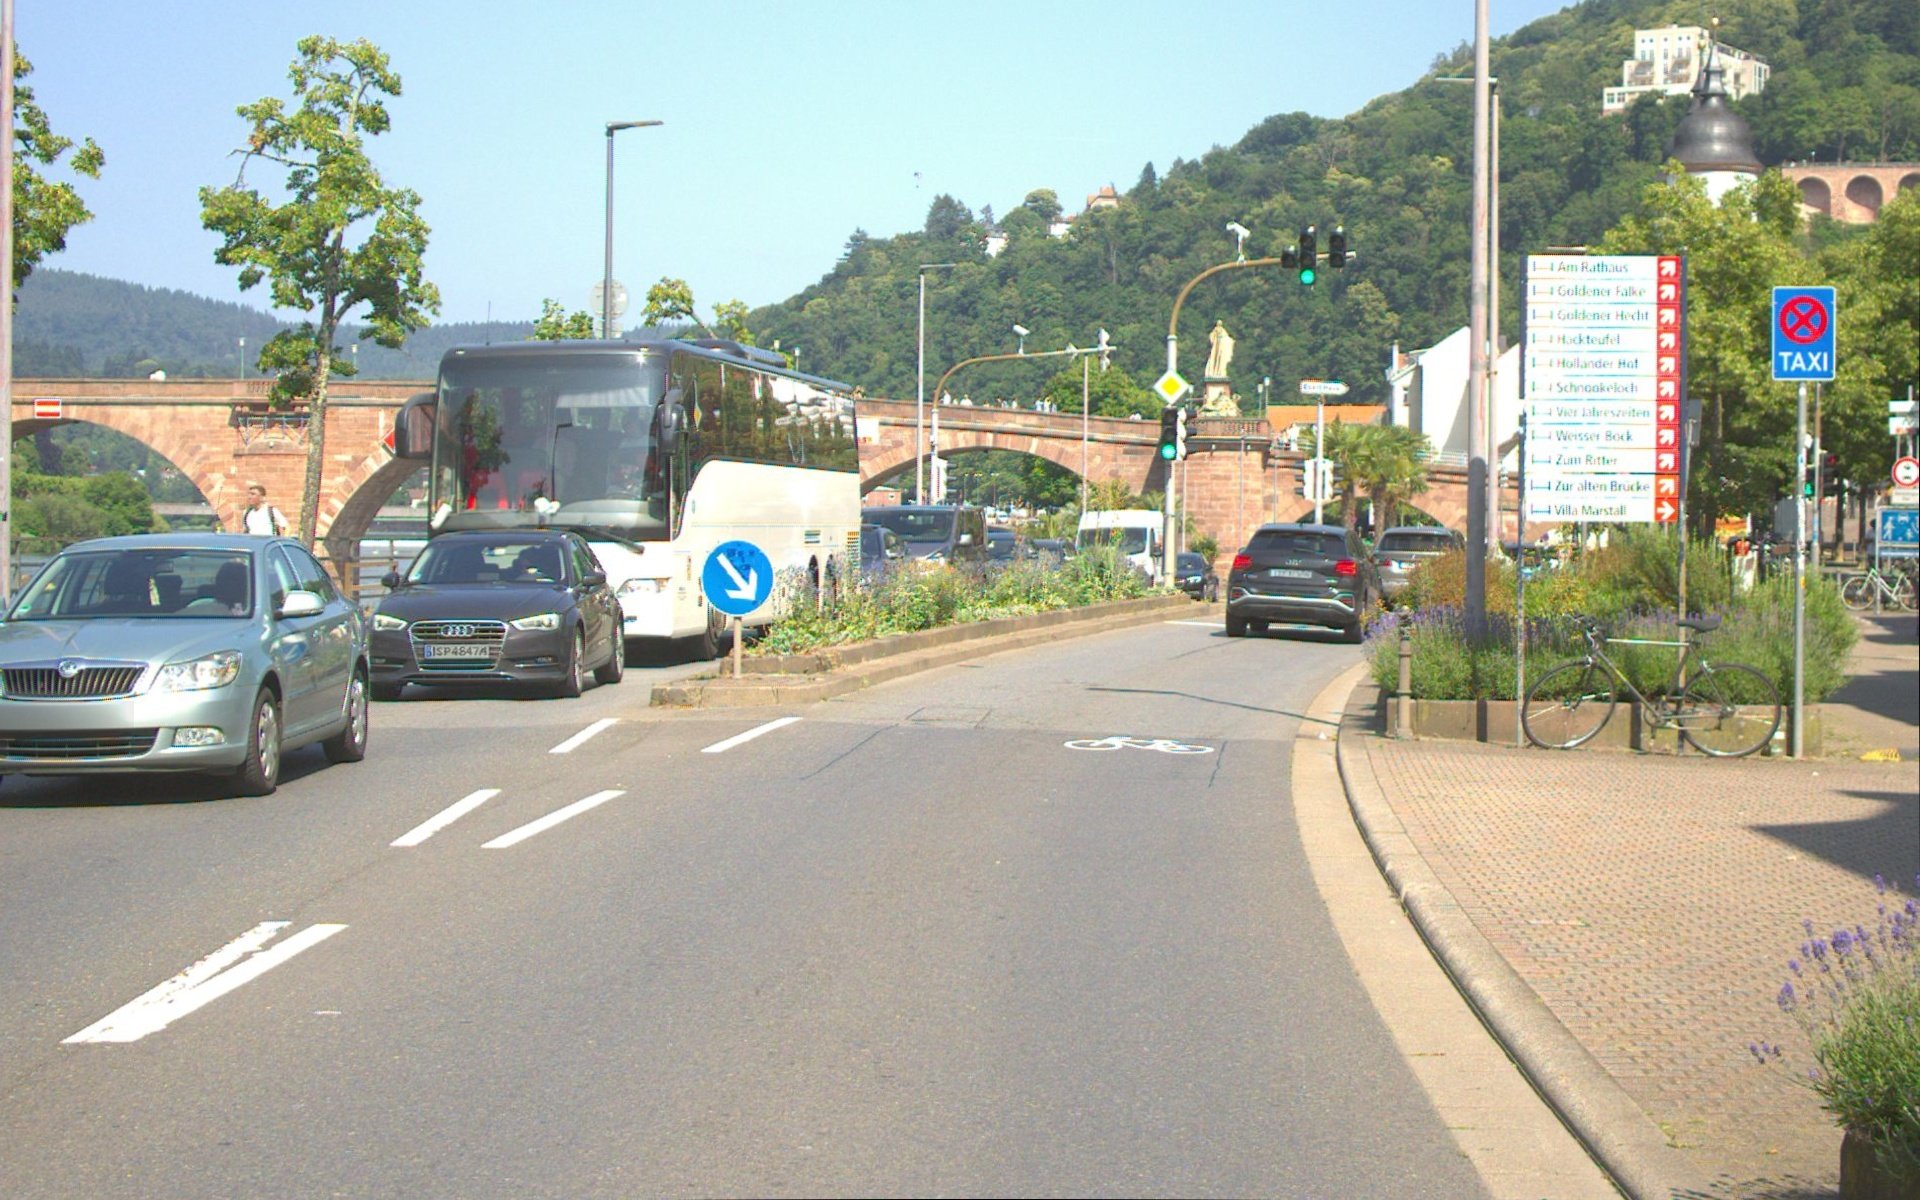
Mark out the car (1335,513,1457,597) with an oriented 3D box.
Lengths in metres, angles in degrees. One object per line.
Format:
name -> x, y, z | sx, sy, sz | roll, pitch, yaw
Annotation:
car -> 7.981, -0.846, 62.594 | 1.927, 1.456, 4.830 | 1, 1, 10

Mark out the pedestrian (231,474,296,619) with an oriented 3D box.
pedestrian -> -8.591, -0.662, 42.436 | 0.620, 1.774, 0.662 | 1, 1, 3

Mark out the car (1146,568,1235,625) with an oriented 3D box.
car -> 6.335, -0.117, 94.089 | 1.819, 1.451, 4.927 | -1, 1, 11

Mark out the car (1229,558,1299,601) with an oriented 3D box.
car -> 10.815, -0.714, 122.087 | 1.953, 1.408, 4.216 | -1, -1, 12

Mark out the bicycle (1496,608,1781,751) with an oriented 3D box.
bicycle -> 4.619, 0.538, 23.463 | 1.810, 0.875, 0.502 | 2, 2, 0

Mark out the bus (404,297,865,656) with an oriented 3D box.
bus -> -3.430, -1.287, 40.686 | 2.632, 3.552, 12.979 | 1, 1, 7

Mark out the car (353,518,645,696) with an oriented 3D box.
car -> -3.944, 0.010, 30.069 | 1.817, 1.424, 4.193 | 0, 1, 2

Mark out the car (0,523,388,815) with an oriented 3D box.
car -> -4.594, 0.310, 19.732 | 1.813, 1.423, 4.311 | -1, 2, 1

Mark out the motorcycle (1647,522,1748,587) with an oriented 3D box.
motorcycle -> 16.828, -1.029, 78.479 | 0.762, 1.460, 2.298 | 0, 0, -38

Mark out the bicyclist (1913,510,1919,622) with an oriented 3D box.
bicyclist -> 13.956, -0.477, 48.294 | 0.766, 1.578, 1.089 | 1, 1, -3

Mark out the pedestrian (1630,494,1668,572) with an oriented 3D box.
pedestrian -> 14.977, -1.464, 74.734 | 0.693, 1.671, 0.764 | -1, 1, 3

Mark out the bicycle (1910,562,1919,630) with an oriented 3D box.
bicycle -> 13.933, -0.038, 48.104 | 0.749, 0.960, 1.782 | 1, 1, 0

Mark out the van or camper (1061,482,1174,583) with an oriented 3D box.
van or camper -> 4.027, -1.668, 87.049 | 1.994, 2.441, 5.491 | -1, 0, 12

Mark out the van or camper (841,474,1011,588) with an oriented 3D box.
van or camper -> -0.526, -1.171, 58.932 | 1.994, 1.867, 5.177 | 0, 1, 10

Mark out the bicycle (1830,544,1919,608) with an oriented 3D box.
bicycle -> 18.445, -0.485, 68.567 | 2.014, 1.194, 0.521 | 3, 2, 23

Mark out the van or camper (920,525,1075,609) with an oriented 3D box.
van or camper -> 0.748, -0.615, 63.825 | 1.994, 1.472, 5.063 | -1, 0, 11

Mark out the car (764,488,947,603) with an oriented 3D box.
car -> -1.527, -0.830, 52.444 | 1.994, 1.593, 5.156 | -2, 1, 7

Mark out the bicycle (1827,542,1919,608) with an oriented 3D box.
bicycle -> 18.264, -0.497, 68.091 | 2.001, 1.194, 0.521 | 4, 2, 23

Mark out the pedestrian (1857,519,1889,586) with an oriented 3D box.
pedestrian -> 22.717, -1.182, 85.551 | 0.708, 1.647, 0.706 | 1, 1, 12

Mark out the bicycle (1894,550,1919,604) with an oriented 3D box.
bicycle -> 19.456, -0.460, 69.493 | 0.595, 1.064, 2.062 | 0, 0, 30

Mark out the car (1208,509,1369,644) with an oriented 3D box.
car -> 4.434, -0.358, 45.954 | 1.927, 1.547, 4.831 | 4, 2, 6

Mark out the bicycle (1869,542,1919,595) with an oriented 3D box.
bicycle -> 19.056, -0.645, 69.837 | 0.595, 1.064, 2.062 | 0, 1, 30

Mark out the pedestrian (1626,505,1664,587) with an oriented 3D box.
pedestrian -> 14.914, -1.173, 74.836 | 0.693, 1.765, 0.764 | -1, 1, 3
